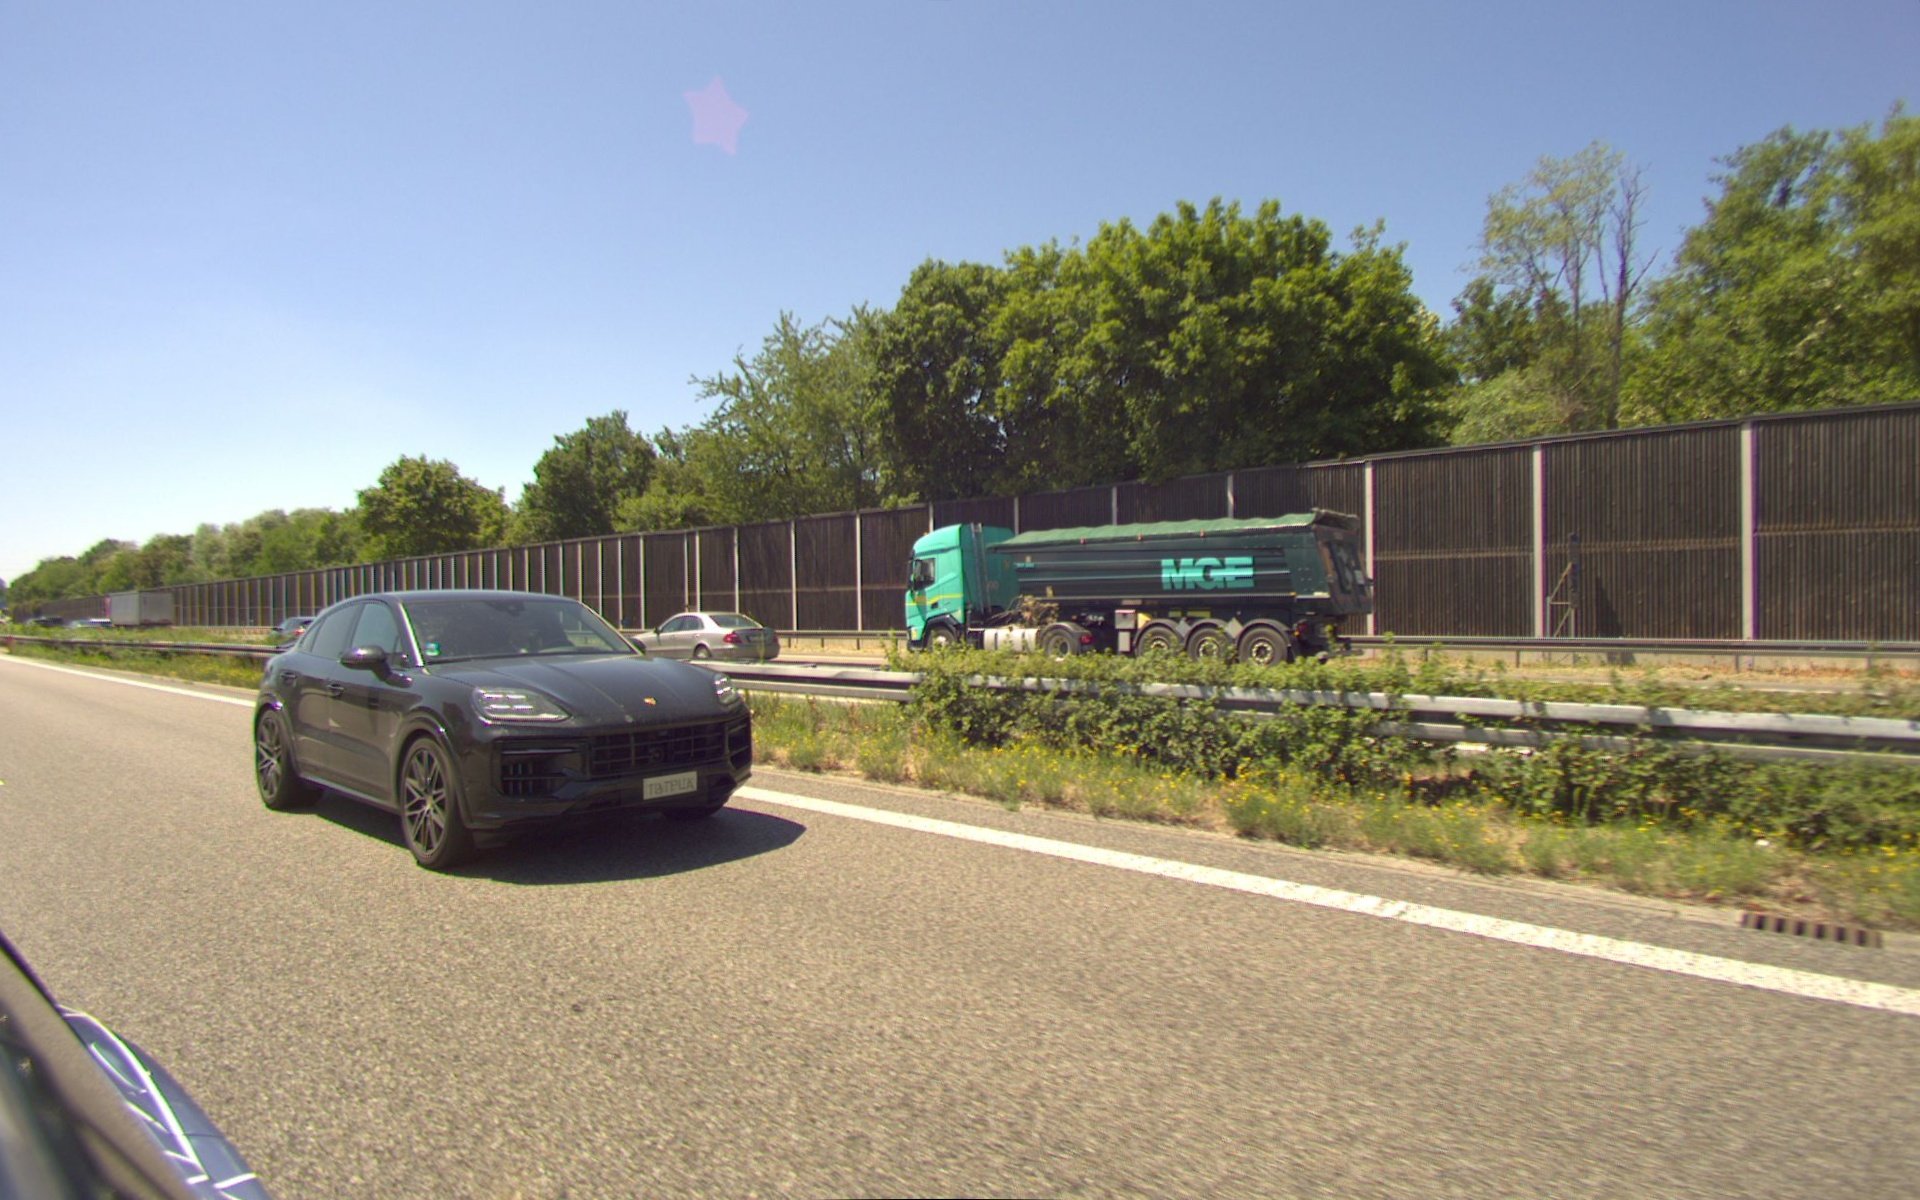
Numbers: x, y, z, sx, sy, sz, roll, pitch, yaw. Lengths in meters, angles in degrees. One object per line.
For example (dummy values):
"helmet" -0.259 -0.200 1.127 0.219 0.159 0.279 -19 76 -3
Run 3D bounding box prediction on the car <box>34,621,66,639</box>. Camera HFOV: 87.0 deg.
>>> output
"car" -99.658 3.269 110.834 5.217 1.829 1.973 -1 -1 41

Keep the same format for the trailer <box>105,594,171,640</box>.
"trailer" -78.024 1.640 95.908 14.263 4.118 2.470 -1 -1 41

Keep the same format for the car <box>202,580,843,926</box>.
"car" -3.579 0.768 7.459 5.768 1.637 2.023 -1 0 41

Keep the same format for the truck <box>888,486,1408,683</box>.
"truck" 3.775 -0.193 24.245 12.359 3.703 3.058 -1 -1 40

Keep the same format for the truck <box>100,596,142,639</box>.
"truck" -83.529 1.733 100.721 4.675 4.118 2.461 -1 -1 41

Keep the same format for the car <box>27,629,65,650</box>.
"car" -80.238 3.410 88.804 4.530 1.733 1.973 -1 -1 41

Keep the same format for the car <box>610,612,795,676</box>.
"car" -6.603 1.064 25.621 5.078 1.452 1.847 -1 -1 38

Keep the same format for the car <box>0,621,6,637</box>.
"car" -107.147 3.254 111.922 4.243 1.733 1.973 -1 -1 41

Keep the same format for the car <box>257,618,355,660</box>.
"car" -24.517 1.438 37.868 4.456 1.457 1.937 -1 -1 41

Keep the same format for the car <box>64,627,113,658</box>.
"car" -60.584 2.904 70.329 3.998 1.962 1.973 -1 2 41
